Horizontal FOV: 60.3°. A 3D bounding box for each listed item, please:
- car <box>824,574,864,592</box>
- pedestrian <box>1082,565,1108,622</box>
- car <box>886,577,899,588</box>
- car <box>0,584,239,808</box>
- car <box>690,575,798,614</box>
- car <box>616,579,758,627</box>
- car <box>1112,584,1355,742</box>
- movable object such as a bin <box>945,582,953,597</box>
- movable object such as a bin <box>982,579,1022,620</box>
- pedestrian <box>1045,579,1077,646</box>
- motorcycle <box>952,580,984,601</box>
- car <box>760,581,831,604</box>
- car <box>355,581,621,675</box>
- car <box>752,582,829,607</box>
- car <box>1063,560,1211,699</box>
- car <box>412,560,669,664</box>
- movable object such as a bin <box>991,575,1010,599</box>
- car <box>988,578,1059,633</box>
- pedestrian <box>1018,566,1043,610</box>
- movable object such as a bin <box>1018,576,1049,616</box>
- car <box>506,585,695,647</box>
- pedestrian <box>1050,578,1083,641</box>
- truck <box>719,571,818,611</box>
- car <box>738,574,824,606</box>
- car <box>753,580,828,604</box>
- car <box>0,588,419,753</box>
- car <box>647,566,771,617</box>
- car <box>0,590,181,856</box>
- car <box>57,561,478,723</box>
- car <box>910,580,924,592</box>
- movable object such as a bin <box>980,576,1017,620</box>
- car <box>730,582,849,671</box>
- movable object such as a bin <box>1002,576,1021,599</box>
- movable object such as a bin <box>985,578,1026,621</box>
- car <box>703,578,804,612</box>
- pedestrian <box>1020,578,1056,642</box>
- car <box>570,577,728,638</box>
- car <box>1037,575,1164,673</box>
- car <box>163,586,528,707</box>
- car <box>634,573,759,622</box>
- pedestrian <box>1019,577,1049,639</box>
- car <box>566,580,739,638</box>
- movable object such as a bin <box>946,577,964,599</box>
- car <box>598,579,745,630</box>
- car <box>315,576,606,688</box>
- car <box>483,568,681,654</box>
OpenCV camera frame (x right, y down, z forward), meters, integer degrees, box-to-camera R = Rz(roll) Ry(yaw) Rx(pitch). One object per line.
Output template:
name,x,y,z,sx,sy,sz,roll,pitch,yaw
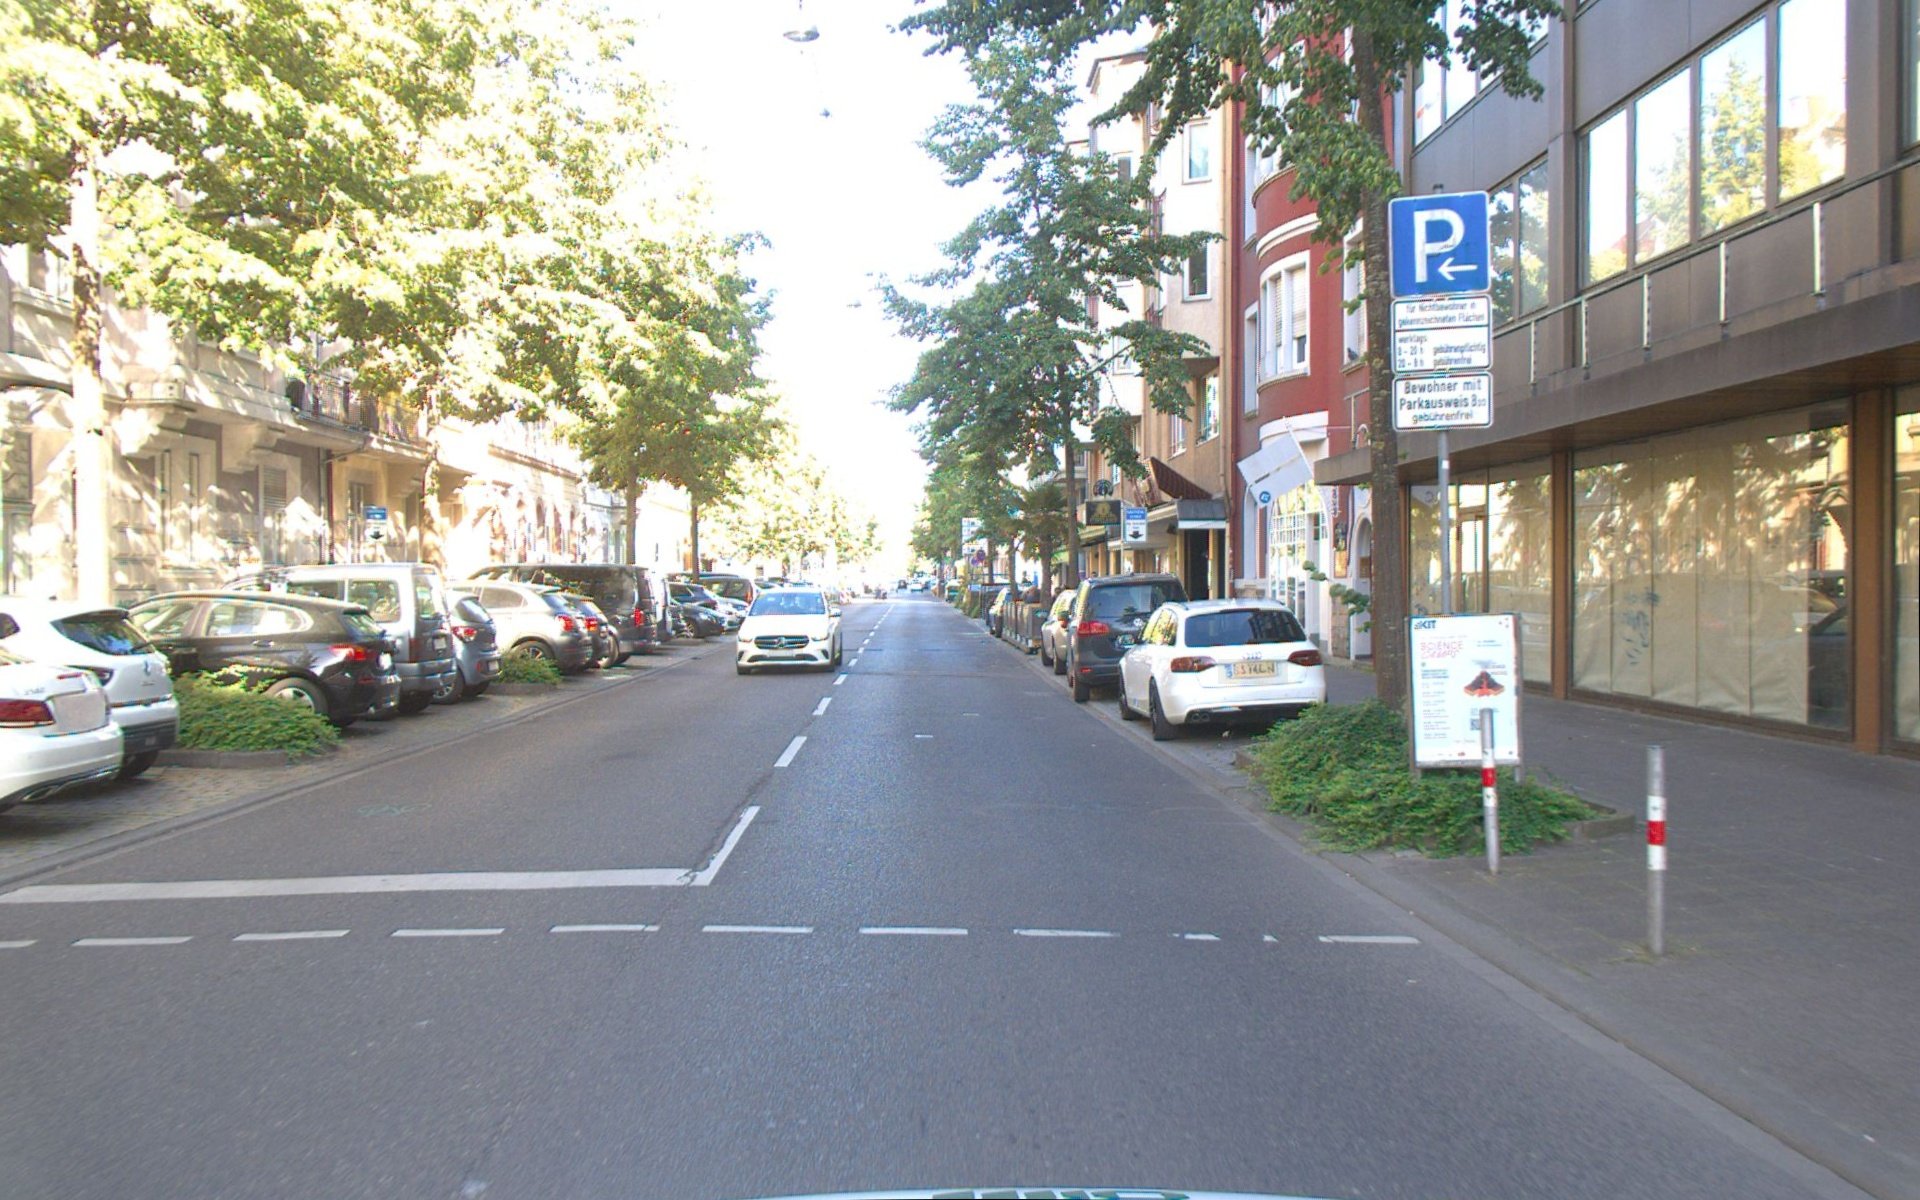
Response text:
car,-11.941,-1.775,170.434,3.903,1.724,2.001,-1,1,3
pedestrian,4.168,-0.194,50.982,0.499,1.725,0.622,-1,0,-39
car,-9.646,-2.543,235.932,1.767,1.460,4.407,-3,1,-3
car,-8.315,0.648,12.773,4.601,1.518,2.001,1,1,2
car,-9.589,-0.249,73.640,4.585,1.742,1.808,0,0,-1
car,-9.102,0.095,55.328,4.373,1.568,1.917,0,0,1
car,2.908,0.598,18.658,1.785,1.427,4.841,-3,1,-1
movable object such as a bin,-0.920,-0.898,136.981,0.609,1.200,0.711,-1,1,-4
movable object such as a bin,1.527,-0.032,60.561,1.370,1.479,1.146,-1,1,-2
pedestrian,2.421,0.292,39.697,0.678,1.563,0.776,-1,0,-1
motorcycle,0.521,-0.658,109.570,1.944,1.353,0.908,-1,1,-14
car,-10.714,-0.496,107.983,4.589,1.437,1.806,0,0,-5
car,-8.366,0.476,29.623,4.253,1.623,1.915,0,0,-4
car,-10.201,-0.328,100.031,4.589,1.490,1.806,0,0,-5
car,2.576,0.366,25.076,1.784,1.808,4.932,-3,1,2
car,-8.094,0.209,32.210,4.479,1.960,1.930,0,0,0
movable object such as a bin,2.888,-0.948,117.420,1.181,1.656,1.497,-1,1,-3
car,1.893,0.129,50.848,1.785,1.497,4.910,-3,1,-2
pedestrian,3.214,-0.546,75.030,0.906,1.969,0.761,-1,1,23
movable object such as a bin,2.726,-0.151,61.770,1.055,1.456,1.295,-1,1,-2
car,-8.690,0.369,40.283,4.253,1.464,1.915,0,0,-4
pedestrian,2.715,0.239,42.096,0.696,1.563,0.770,-1,0,13
truck,-10.008,-0.461,86.783,4.983,1.972,1.999,-1,1,-3
car,-9.944,-0.558,92.241,4.585,1.723,1.808,0,0,-1
car,-10.479,-0.494,102.765,4.589,1.490,1.806,0,0,-5
car,-7.976,0.671,17.241,4.265,1.571,1.958,0,0,-14
car,-9.788,-0.336,64.770,4.585,1.984,1.916,0,0,-1
car,-7.609,0.685,10.227,4.609,1.518,1.997,1,-1,-7
car,-8.233,0.468,19.955,4.250,1.856,1.930,0,0,0
car,-5.735,-1.888,220.766,1.756,1.436,3.999,-1,1,-2
movable object such as a bin,1.445,-0.082,61.722,1.304,1.569,1.146,-1,1,-2
car,-3.157,0.445,31.460,1.871,1.571,4.353,0,1,-1
movable object such as a bin,3.621,-0.881,116.077,1.245,1.557,1.176,-1,1,-4
movable object such as a bin,1.629,-0.028,59.386,1.370,1.479,1.146,-1,1,-2
car,-9.878,-0.248,79.253,4.585,1.599,1.808,0,0,-1
pedestrian,1.918,0.243,40.797,0.733,1.563,0.808,-1,0,13
car,-9.004,0.209,48.109,4.252,1.739,1.916,0,0,-2
car,2.579,0.387,31.443,1.785,1.624,4.840,-3,1,-2
car,-8.295,0.593,22.577,4.249,1.571,1.917,0,0,2
car,-9.828,-0.108,62.004,4.375,1.803,1.916,0,0,-1
pedestrian,1.883,0.196,42.095,0.637,1.563,0.979,-1,0,-3
car,-8.436,0.226,45.641,4.374,1.568,1.917,0,0,0
movable object such as a bin,-0.390,-0.874,119.876,1.118,1.589,1.460,-1,1,6
car,-9.112,0.135,52.571,4.377,1.568,1.916,0,0,-3
car,-8.120,0.498,27.209,4.253,1.764,1.915,0,0,-4
car,-8.509,0.229,37.488,4.262,1.866,1.911,0,0,-12
